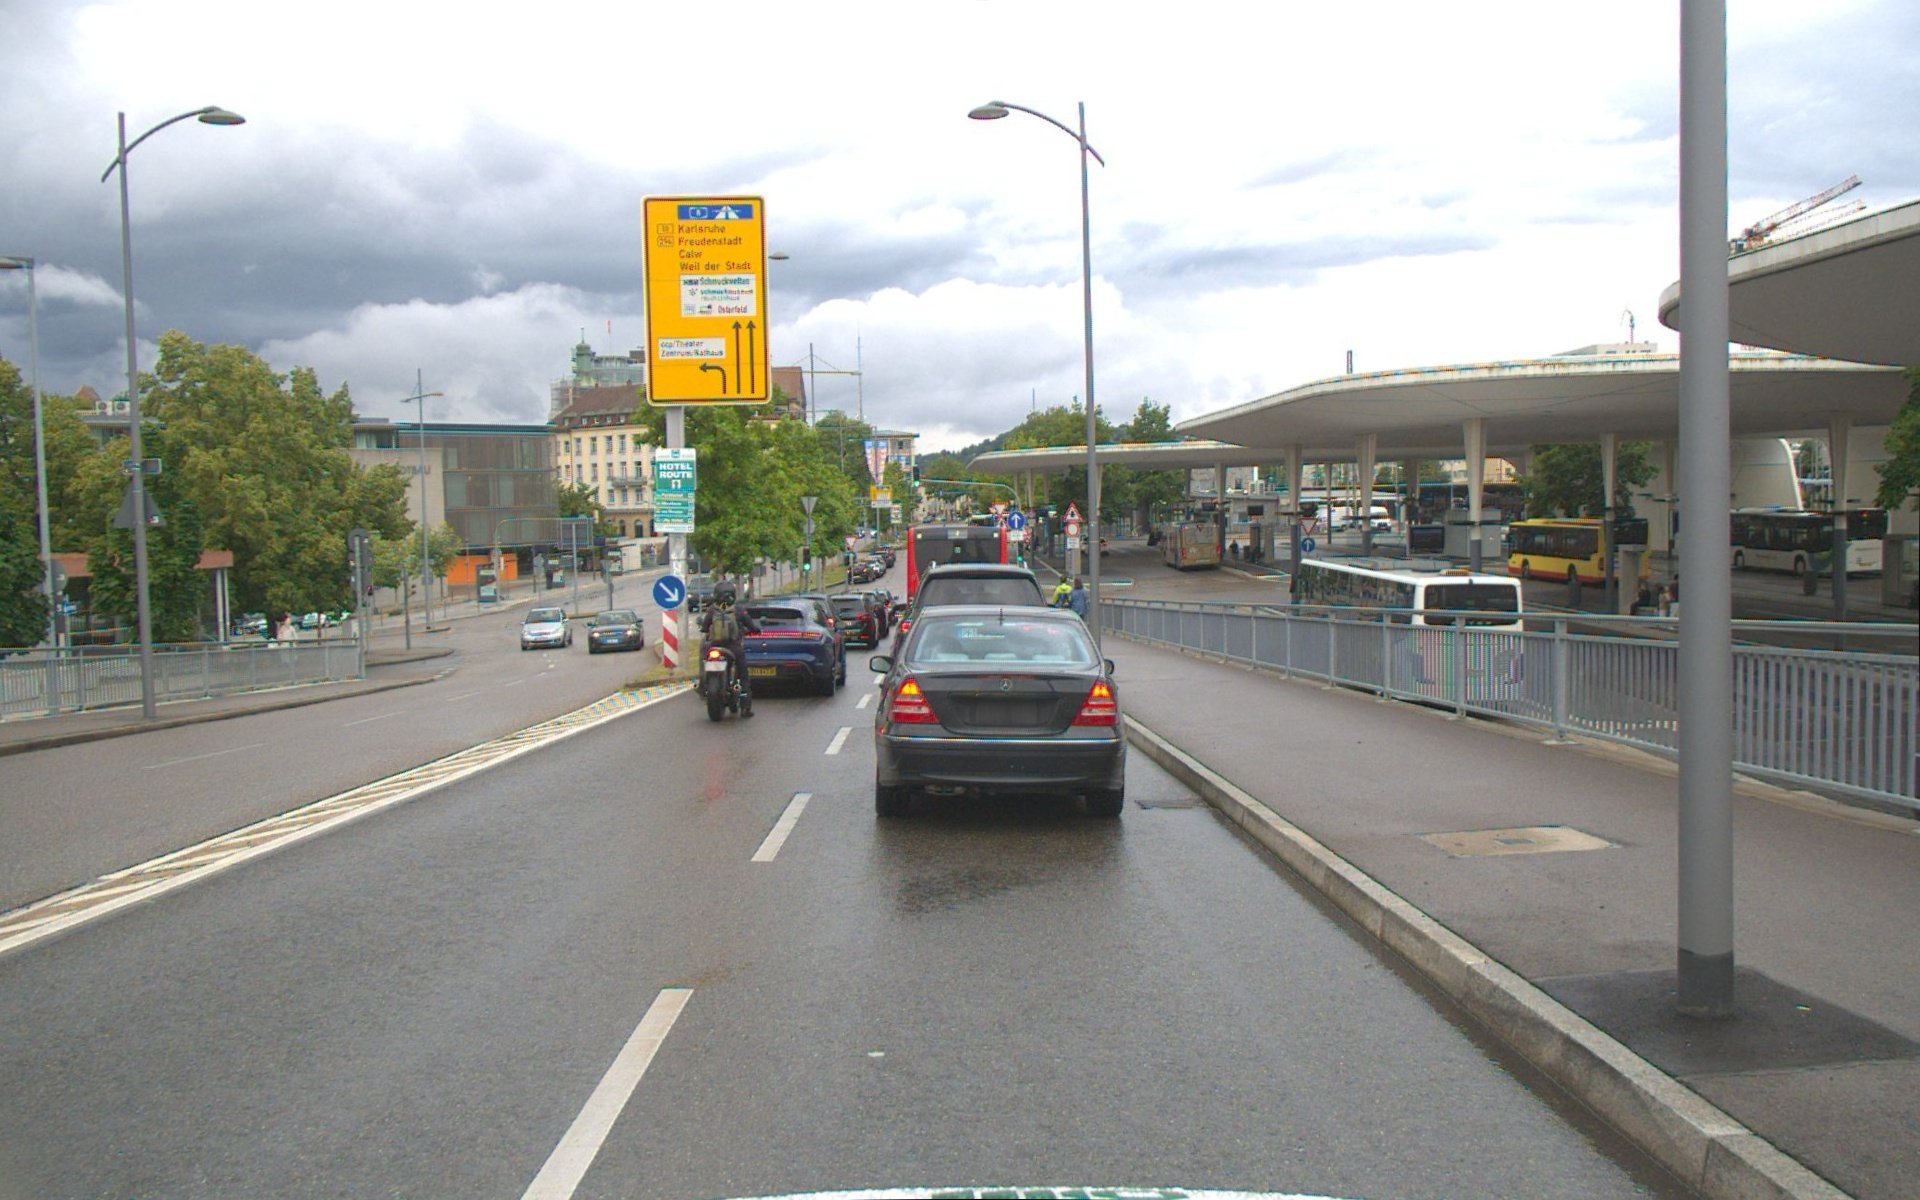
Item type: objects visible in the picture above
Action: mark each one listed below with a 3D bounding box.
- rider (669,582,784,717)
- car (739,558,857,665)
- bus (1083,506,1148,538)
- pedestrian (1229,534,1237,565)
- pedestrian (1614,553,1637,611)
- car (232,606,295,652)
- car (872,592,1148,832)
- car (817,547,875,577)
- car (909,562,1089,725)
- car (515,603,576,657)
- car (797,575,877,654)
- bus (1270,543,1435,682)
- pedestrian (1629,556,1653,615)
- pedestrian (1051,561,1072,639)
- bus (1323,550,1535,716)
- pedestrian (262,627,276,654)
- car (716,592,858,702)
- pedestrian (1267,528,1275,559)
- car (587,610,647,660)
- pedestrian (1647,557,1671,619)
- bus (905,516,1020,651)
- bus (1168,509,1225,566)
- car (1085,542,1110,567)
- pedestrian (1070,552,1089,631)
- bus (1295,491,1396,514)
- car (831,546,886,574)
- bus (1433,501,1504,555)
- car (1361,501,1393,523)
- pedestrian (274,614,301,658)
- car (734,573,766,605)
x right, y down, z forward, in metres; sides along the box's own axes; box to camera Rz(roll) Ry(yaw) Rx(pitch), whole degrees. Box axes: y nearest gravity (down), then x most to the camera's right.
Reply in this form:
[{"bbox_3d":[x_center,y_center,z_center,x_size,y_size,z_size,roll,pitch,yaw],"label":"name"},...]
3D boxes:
[{"bbox_3d":[-2.743,0.538,19.690,0.862,1.497,2.197,1,1,5],"label":"rider"},{"bbox_3d":[-3.207,0.191,33.469,1.952,2.041,4.000,0,1,0],"label":"car"},{"bbox_3d":[18.046,-9.117,192.623,7.057,3.455,3.080,-2,2,-4],"label":"bus"},{"bbox_3d":[18.055,-3.366,109.505,0.415,2.048,0.483,-2,1,1],"label":"pedestrian"},{"bbox_3d":[23.822,-0.634,59.179,0.532,2.048,0.579,-2,1,0],"label":"pedestrian"},{"bbox_3d":[-35.247,1.464,83.599,1.979,2.048,3.948,3,1,-37],"label":"car"},{"bbox_3d":[0.317,0.670,11.900,1.671,1.444,3.726,0,0,0],"label":"car"},{"bbox_3d":[-8.286,-2.764,120.089,3.903,2.048,2.001,-2,1,4],"label":"car"},{"bbox_3d":[0.563,0.422,19.431,1.788,1.716,4.003,0,1,6],"label":"car"},{"bbox_3d":[-17.003,1.211,67.996,1.956,2.049,3.993,-2,1,-8],"label":"car"},{"bbox_3d":[-3.293,0.339,44.875,1.953,2.041,3.999,0,1,-1],"label":"car"},{"bbox_3d":[11.040,0.218,47.229,2.594,3.291,7.069,-2,5,-4],"label":"bus"},{"bbox_3d":[23.701,-0.501,57.571,0.532,2.048,0.579,-2,1,0],"label":"pedestrian"},{"bbox_3d":[2.680,0.009,43.891,0.479,2.049,0.470,-2,-1,1],"label":"pedestrian"},{"bbox_3d":[11.138,0.646,40.087,2.594,3.291,7.069,1,4,-4],"label":"bus"},{"bbox_3d":[-23.311,1.376,55.804,0.294,0.888,0.298,-2,2,2],"label":"pedestrian"},{"bbox_3d":[-2.517,0.643,24.832,1.724,1.461,4.000,0,1,0],"label":"car"},{"bbox_3d":[20.803,-3.805,110.743,0.415,2.049,0.483,-2,-1,1],"label":"pedestrian"},{"bbox_3d":[-12.581,1.238,60.908,1.799,1.553,4.587,-2,2,-8],"label":"car"},{"bbox_3d":[23.307,-0.407,55.131,0.549,2.048,0.483,-2,1,1],"label":"pedestrian"},{"bbox_3d":[0.000,-0.461,44.924,2.770,3.245,10.308,0,1,-1],"label":"bus"},{"bbox_3d":[16.218,-4.192,113.912,3.111,3.663,10.516,-1,1,4],"label":"bus"},{"bbox_3d":[11.582,-3.854,139.252,1.951,2.048,4.003,-2,1,5],"label":"car"},{"bbox_3d":[3.159,-0.223,43.767,0.415,2.049,0.483,-2,-1,1],"label":"pedestrian"},{"bbox_3d":[40.040,-10.086,171.912,9.967,2.048,2.169,-2,1,-4],"label":"bus"},{"bbox_3d":[-7.770,-3.044,126.254,3.903,2.048,2.001,-2,1,4],"label":"car"},{"bbox_3d":[32.707,-4.631,106.562,2.546,3.265,6.996,-2,2,1],"label":"bus"},{"bbox_3d":[40.285,-8.486,159.874,1.953,2.048,4.000,-2,2,-1],"label":"car"},{"bbox_3d":[-22.703,1.225,55.820,0.634,1.433,0.531,-2,2,2],"label":"pedestrian"},{"bbox_3d":[-13.883,-0.706,109.435,1.956,2.049,4.195,-2,0,-7],"label":"car"}]
